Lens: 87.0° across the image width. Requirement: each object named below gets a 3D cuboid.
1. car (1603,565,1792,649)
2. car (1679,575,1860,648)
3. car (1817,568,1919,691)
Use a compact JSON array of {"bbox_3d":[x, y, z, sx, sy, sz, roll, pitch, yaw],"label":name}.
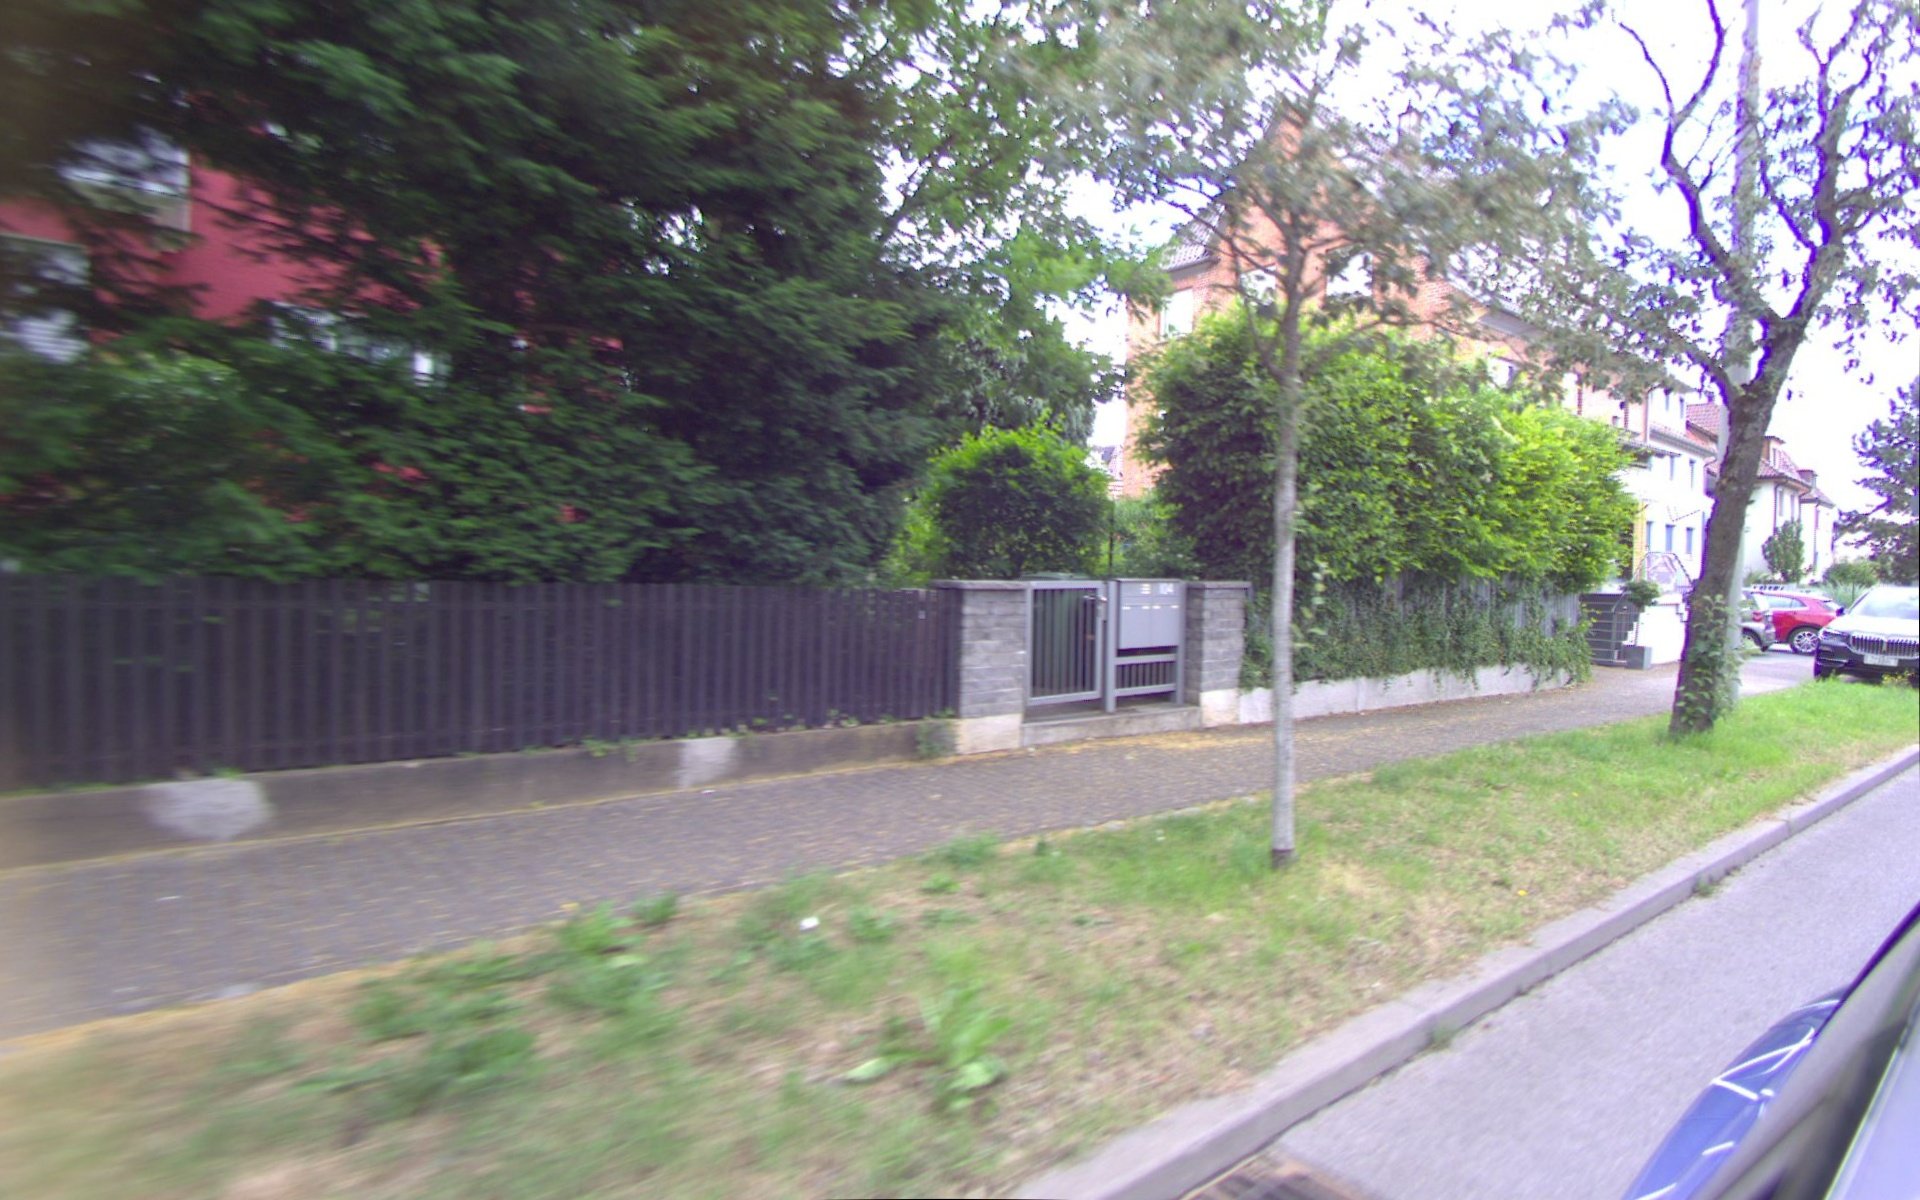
[{"bbox_3d":[17.685,0.123,24.363,1.553,1.653,3.358,0,5,-42],"label":"car"},{"bbox_3d":[20.471,0.248,25.661,1.721,1.476,3.355,0,5,-45],"label":"car"},{"bbox_3d":[16.650,0.471,17.363,4.824,1.859,1.904,0,3,-37],"label":"car"}]
